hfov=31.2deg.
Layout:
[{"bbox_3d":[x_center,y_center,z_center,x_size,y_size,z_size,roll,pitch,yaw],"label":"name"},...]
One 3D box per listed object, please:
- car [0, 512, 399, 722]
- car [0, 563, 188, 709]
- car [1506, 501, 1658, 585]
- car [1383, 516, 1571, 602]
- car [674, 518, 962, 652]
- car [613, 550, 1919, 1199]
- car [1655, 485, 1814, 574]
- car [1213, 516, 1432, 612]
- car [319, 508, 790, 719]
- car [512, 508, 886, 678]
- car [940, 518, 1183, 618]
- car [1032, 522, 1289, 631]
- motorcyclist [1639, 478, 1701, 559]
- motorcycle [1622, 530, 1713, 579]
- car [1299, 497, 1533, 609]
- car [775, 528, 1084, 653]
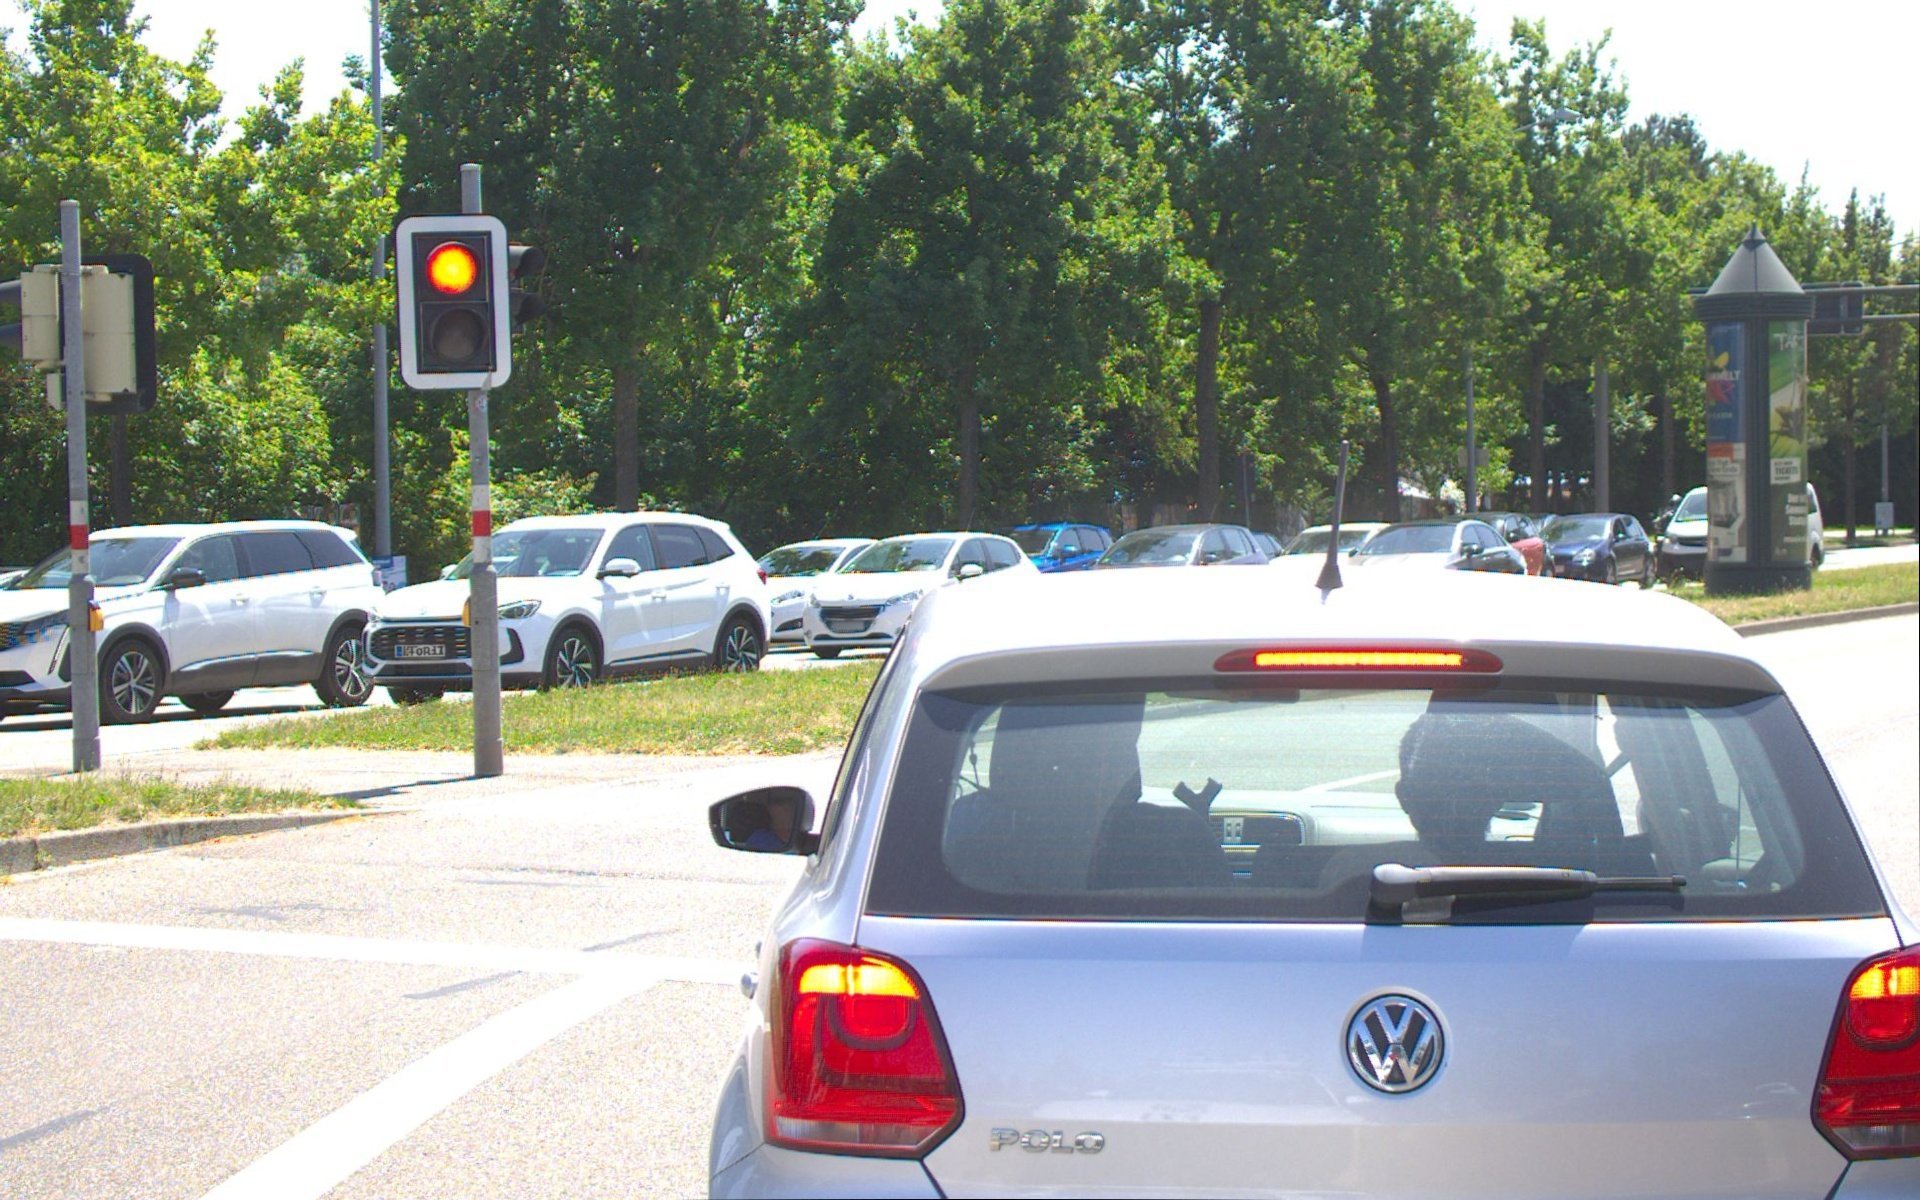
[{"bbox_3d":[-6.855,0.077,29.032,1.861,1.612,4.401,0,2,29],"label":"car"},{"bbox_3d":[-9.299,0.332,31.578,1.861,1.266,4.401,0,2,29],"label":"car"},{"bbox_3d":[11.631,-1.061,64.116,1.718,1.470,3.791,-1,0,27],"label":"car"},{"bbox_3d":[9.083,-0.740,60.108,1.861,1.417,4.401,0,2,29],"label":"car"},{"bbox_3d":[-1.844,-0.239,46.172,1.861,1.677,4.401,0,2,29],"label":"car"},{"bbox_3d":[0.518,0.663,5.678,1.776,1.417,4.000,0,2,0],"label":"car"},{"bbox_3d":[14.002,-1.292,62.020,1.865,1.549,3.994,0,2,27],"label":"car"},{"bbox_3d":[5.717,-0.592,53.754,1.861,1.417,4.401,0,2,29],"label":"car"},{"bbox_3d":[-3.425,0.051,29.908,1.861,1.677,4.401,0,2,29],"label":"car"},{"bbox_3d":[-2.692,-0.125,36.518,1.861,1.677,4.401,0,2,29],"label":"car"},{"bbox_3d":[1.585,-0.506,51.897,1.861,1.417,4.401,0,2,29],"label":"car"},{"bbox_3d":[2.840,-0.354,47.777,1.861,1.417,4.401,0,2,29],"label":"car"},{"bbox_3d":[14.312,-1.638,69.320,0.907,1.581,1.008,-1,0,30],"label":"motorcyclist"},{"bbox_3d":[14.259,-0.927,69.195,0.897,0.949,2.811,-1,0,31],"label":"motorcycle"},{"bbox_3d":[6.416,-0.687,48.011,1.973,1.483,3.994,0,2,28],"label":"car"},{"bbox_3d":[-0.308,-0.155,42.004,1.861,1.417,4.401,0,2,29],"label":"car"}]
